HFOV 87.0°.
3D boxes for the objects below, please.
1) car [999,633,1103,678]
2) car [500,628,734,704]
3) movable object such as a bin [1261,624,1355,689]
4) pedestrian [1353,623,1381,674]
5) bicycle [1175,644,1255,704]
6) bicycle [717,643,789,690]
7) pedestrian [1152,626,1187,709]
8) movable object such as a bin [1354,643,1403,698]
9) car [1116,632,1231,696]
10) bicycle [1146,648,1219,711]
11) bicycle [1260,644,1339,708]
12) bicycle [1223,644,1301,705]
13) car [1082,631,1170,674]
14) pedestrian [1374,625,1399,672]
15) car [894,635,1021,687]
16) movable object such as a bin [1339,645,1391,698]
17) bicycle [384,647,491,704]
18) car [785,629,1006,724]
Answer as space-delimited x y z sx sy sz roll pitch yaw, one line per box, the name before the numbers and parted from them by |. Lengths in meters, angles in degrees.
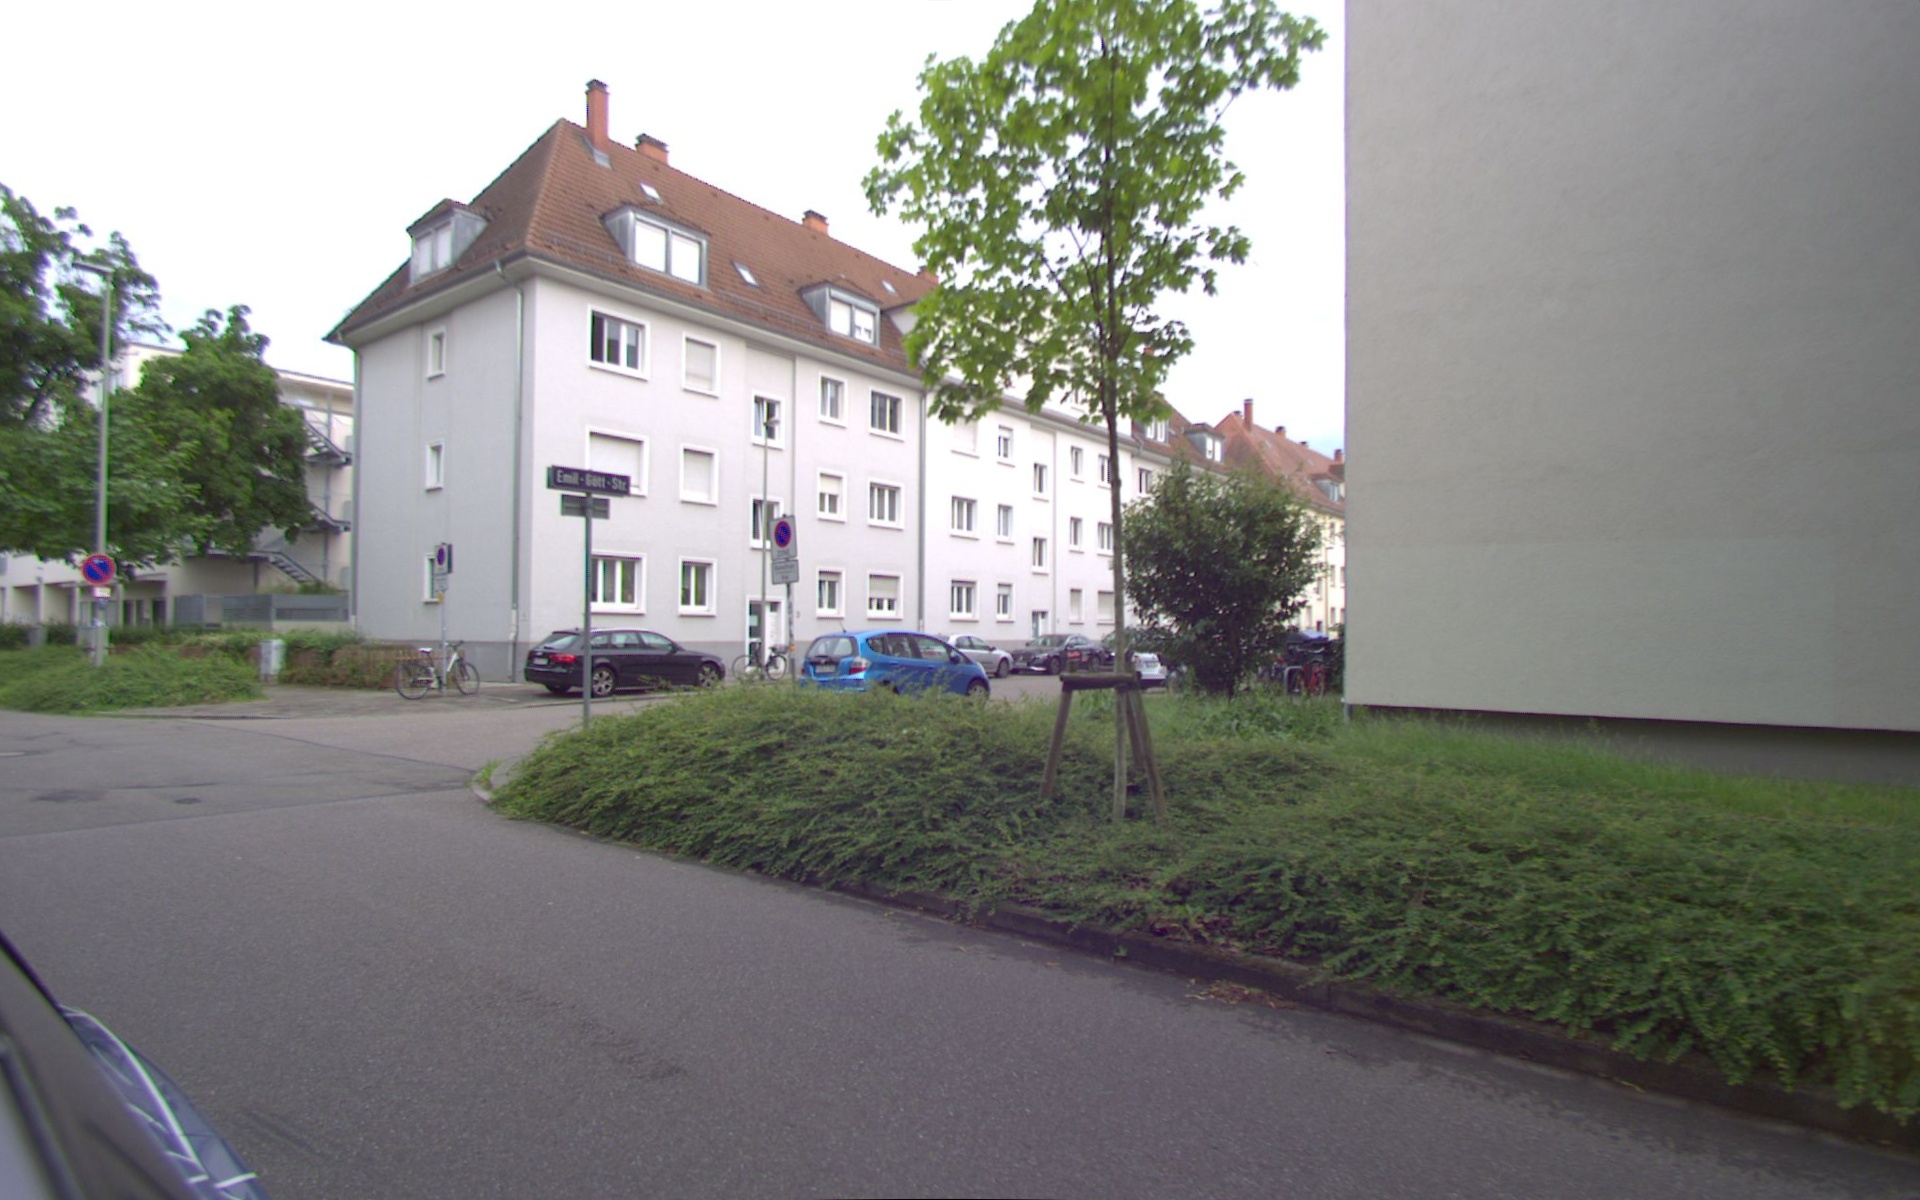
car | 3.330 1.962 36.245 1.784 1.474 4.270 -1 -2 36
car | -7.441 1.390 22.405 1.863 1.474 4.667 0 -2 36
movable object such as a bin | 7.988 1.283 23.210 1.591 1.432 1.650 -2 -3 37
pedestrian | 15.159 1.812 37.663 0.641 1.878 0.962 -4 -4 38
bicycle | 4.839 1.371 19.104 0.658 1.076 2.094 -1 -3 38
bicycle | -5.622 1.793 27.615 0.750 1.209 1.871 1 -2 38
pedestrian | 4.029 1.289 19.452 0.448 1.561 0.559 -2 -4 42
movable object such as a bin | 8.807 1.472 21.313 0.843 1.125 0.591 -1 -3 36
car | 5.810 1.709 27.263 1.655 1.563 3.869 -4 -5 34
bicycle | 4.231 1.496 19.197 0.538 1.128 1.792 -2 -4 42
bicycle | 6.123 1.338 18.172 0.659 1.079 2.147 -1 -3 38
bicycle | 5.669 1.362 18.928 0.659 1.079 2.147 -1 -3 38
car | 6.677 2.091 40.482 1.851 1.611 4.109 -1 -2 36
pedestrian | 15.621 1.772 37.066 0.615 1.669 0.793 -3 -3 38
car | 0.003 1.855 31.543 1.735 1.474 4.376 -1 -2 36
movable object such as a bin | 8.344 1.464 20.854 0.865 1.059 0.626 -1 -3 37
bicycle | -10.562 1.510 20.501 0.568 1.011 1.865 1 0 38
car | -1.028 1.302 17.823 1.733 1.474 3.906 -4 -5 37
